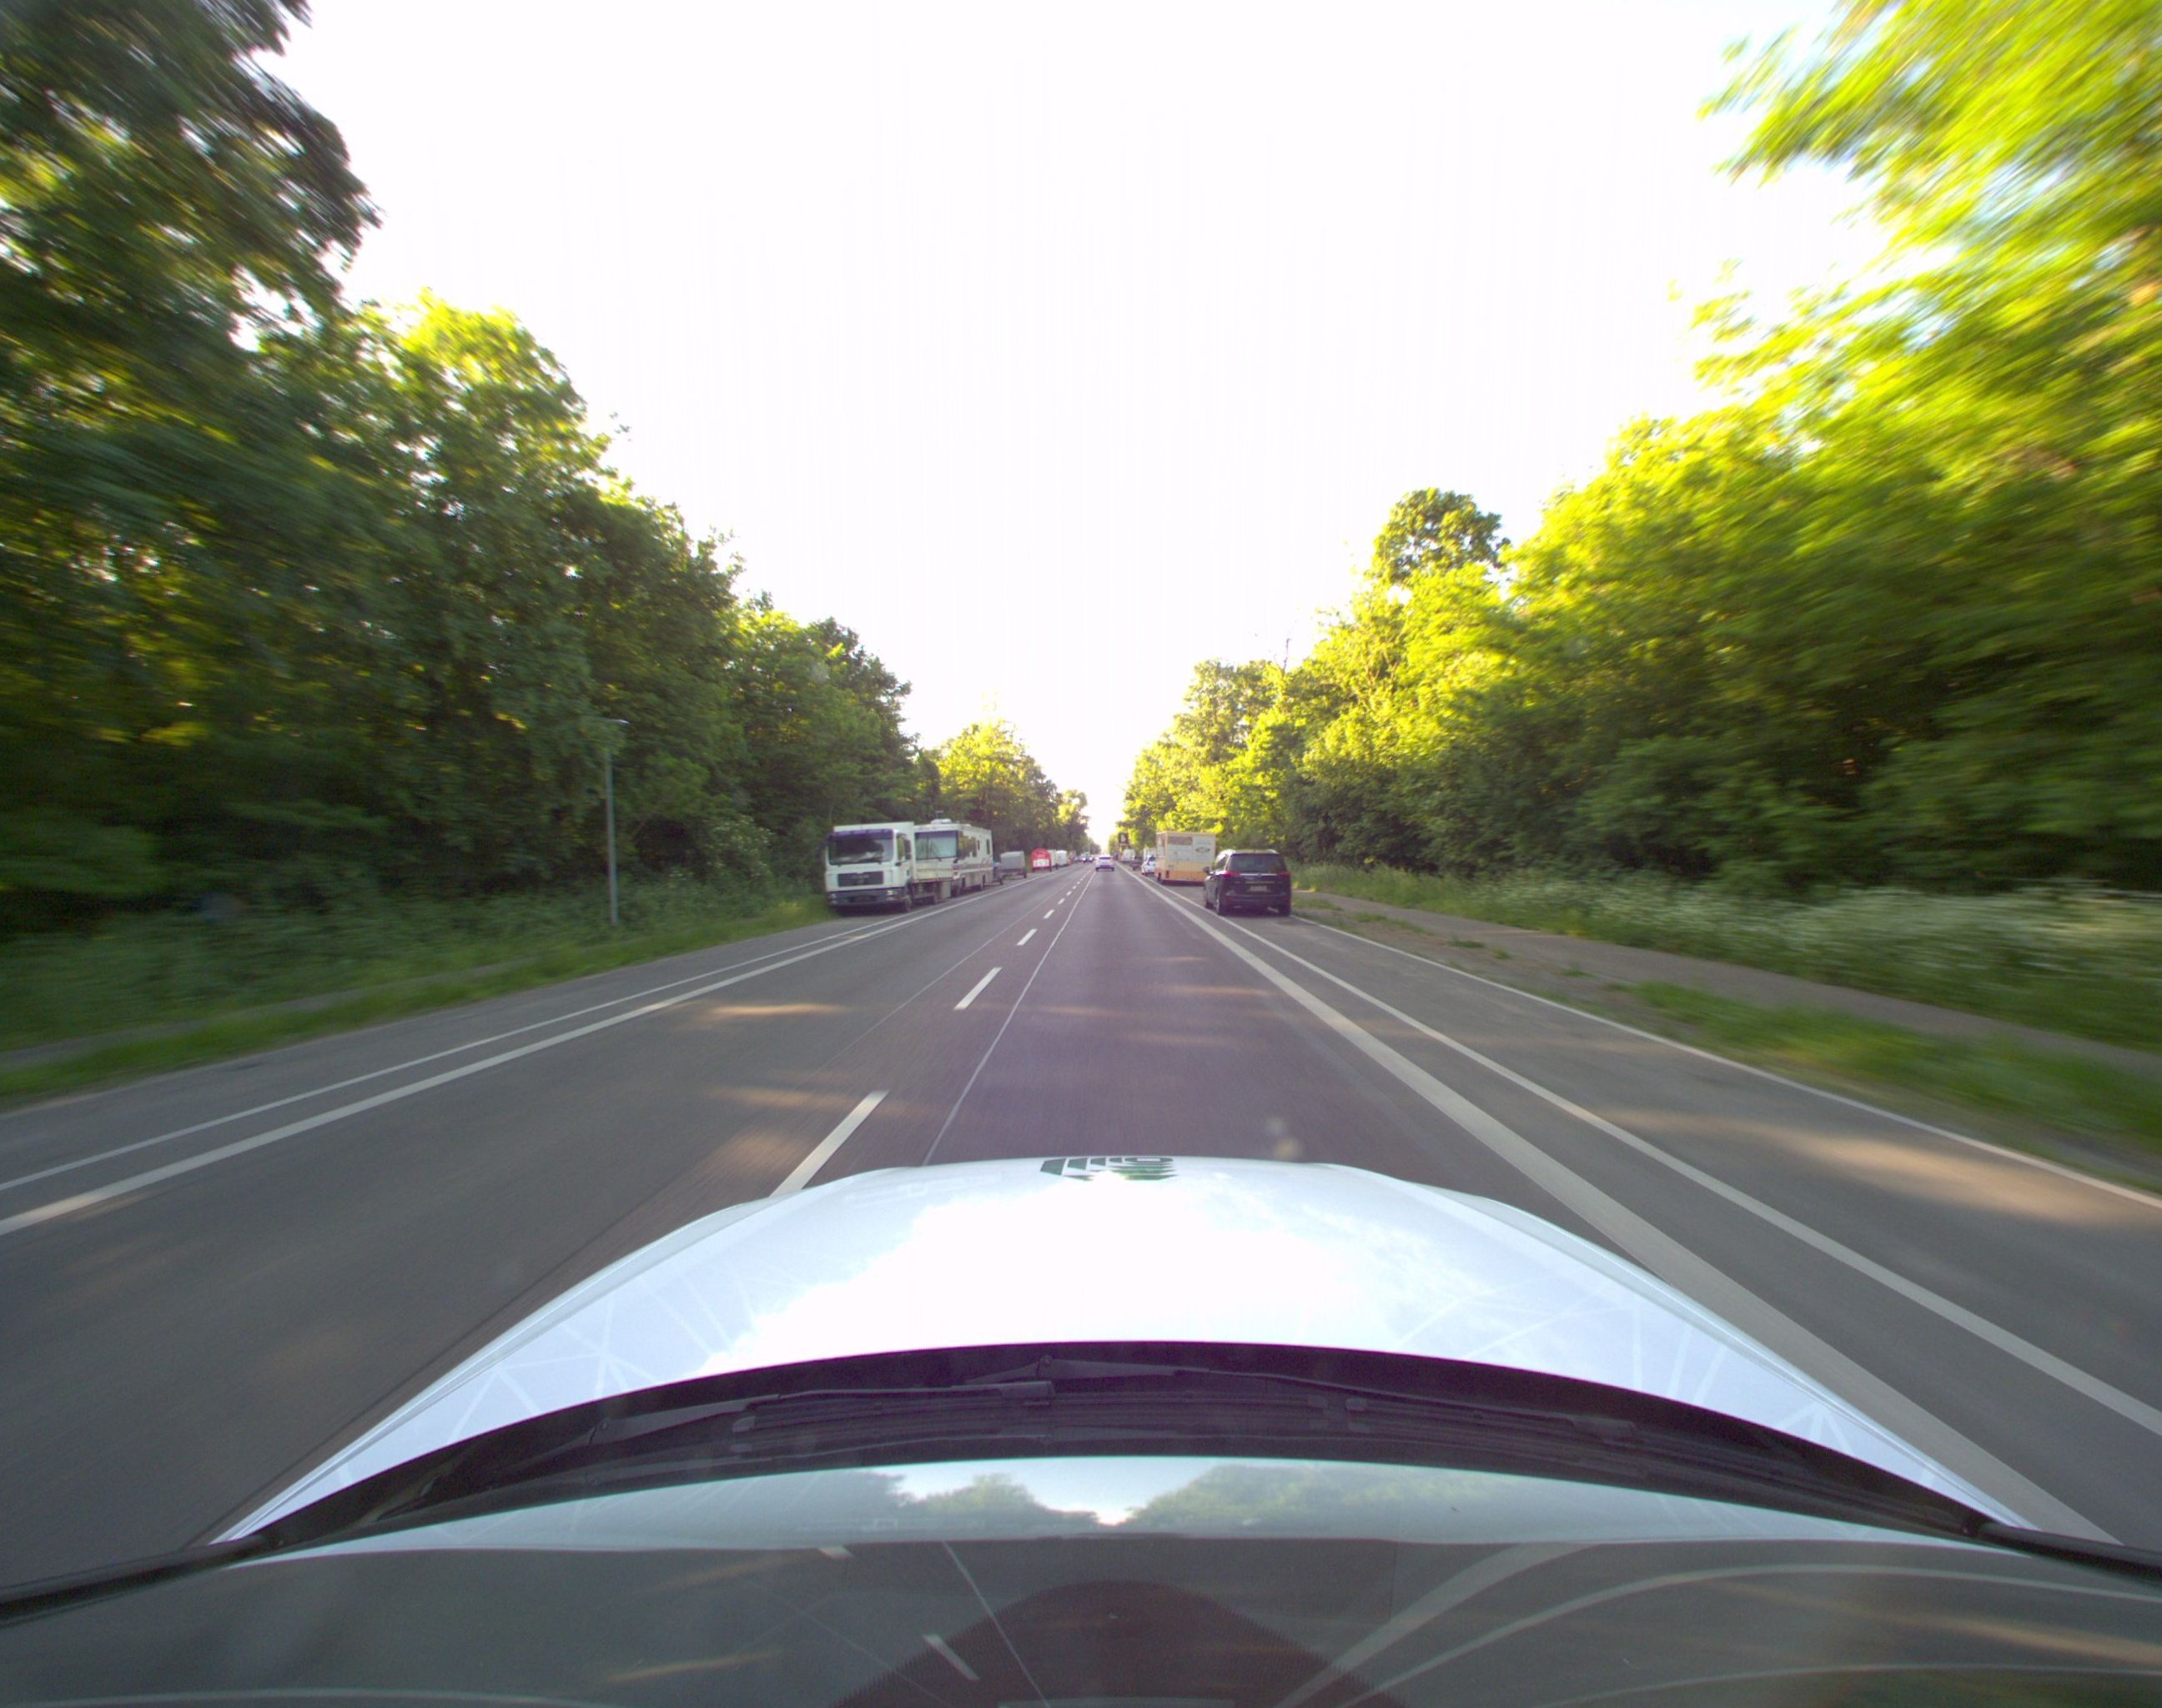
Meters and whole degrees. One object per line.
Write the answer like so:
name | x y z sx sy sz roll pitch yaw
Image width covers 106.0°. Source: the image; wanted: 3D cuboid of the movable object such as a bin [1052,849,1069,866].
movable object such as a bin | -3.127 0.585 123.751 2.313 2.501 4.002 -1 0 2

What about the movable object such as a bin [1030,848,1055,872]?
movable object such as a bin | -4.102 0.618 86.852 2.313 2.501 4.002 -1 0 2

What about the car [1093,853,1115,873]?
car | 2.276 0.866 79.638 2.021 1.840 4.031 -1 0 2

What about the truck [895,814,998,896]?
truck | -6.102 0.037 39.114 2.697 3.347 10.928 -1 0 2

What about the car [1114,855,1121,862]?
car | 8.367 0.957 187.109 1.649 1.478 3.755 -1 0 2

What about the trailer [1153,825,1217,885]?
trailer | 5.411 0.053 43.378 2.747 2.870 6.591 -1 0 2

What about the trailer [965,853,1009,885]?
trailer | -5.597 0.865 49.147 1.986 1.750 4.329 -1 0 2

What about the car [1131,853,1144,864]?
car | 7.631 0.636 110.369 1.649 1.478 3.755 -1 0 2

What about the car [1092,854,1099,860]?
car | 3.832 0.762 219.169 1.773 1.665 4.431 -3 0 2

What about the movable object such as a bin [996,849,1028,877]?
movable object such as a bin | -5.232 0.684 62.569 1.946 2.013 4.002 -1 0 2

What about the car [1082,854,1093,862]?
car | 1.344 0.787 164.180 1.986 1.678 4.002 -3 0 2

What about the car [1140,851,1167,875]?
car | 5.250 0.626 59.388 1.726 1.684 4.002 -1 0 2

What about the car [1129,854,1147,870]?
car | 5.525 0.800 79.390 1.649 1.478 3.755 -1 0 2

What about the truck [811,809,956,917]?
truck | -6.382 0.266 27.762 2.697 3.093 7.993 -1 0 2

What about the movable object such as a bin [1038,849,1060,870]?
movable object such as a bin | -3.945 0.679 101.221 2.313 2.501 4.002 -1 0 2

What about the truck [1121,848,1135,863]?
truck | 7.758 0.228 134.125 2.089 2.452 5.682 -1 0 2

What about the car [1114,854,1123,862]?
car | 7.190 0.831 154.821 1.649 1.478 3.755 -1 0 2

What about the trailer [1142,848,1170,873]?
trailer | 6.043 0.497 66.059 1.986 1.969 4.002 -1 0 2

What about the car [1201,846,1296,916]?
car | 4.315 0.659 21.525 1.834 1.662 4.002 -1 0 2

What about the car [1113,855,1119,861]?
car | 10.037 1.134 231.566 1.649 1.478 3.755 -1 0 2
